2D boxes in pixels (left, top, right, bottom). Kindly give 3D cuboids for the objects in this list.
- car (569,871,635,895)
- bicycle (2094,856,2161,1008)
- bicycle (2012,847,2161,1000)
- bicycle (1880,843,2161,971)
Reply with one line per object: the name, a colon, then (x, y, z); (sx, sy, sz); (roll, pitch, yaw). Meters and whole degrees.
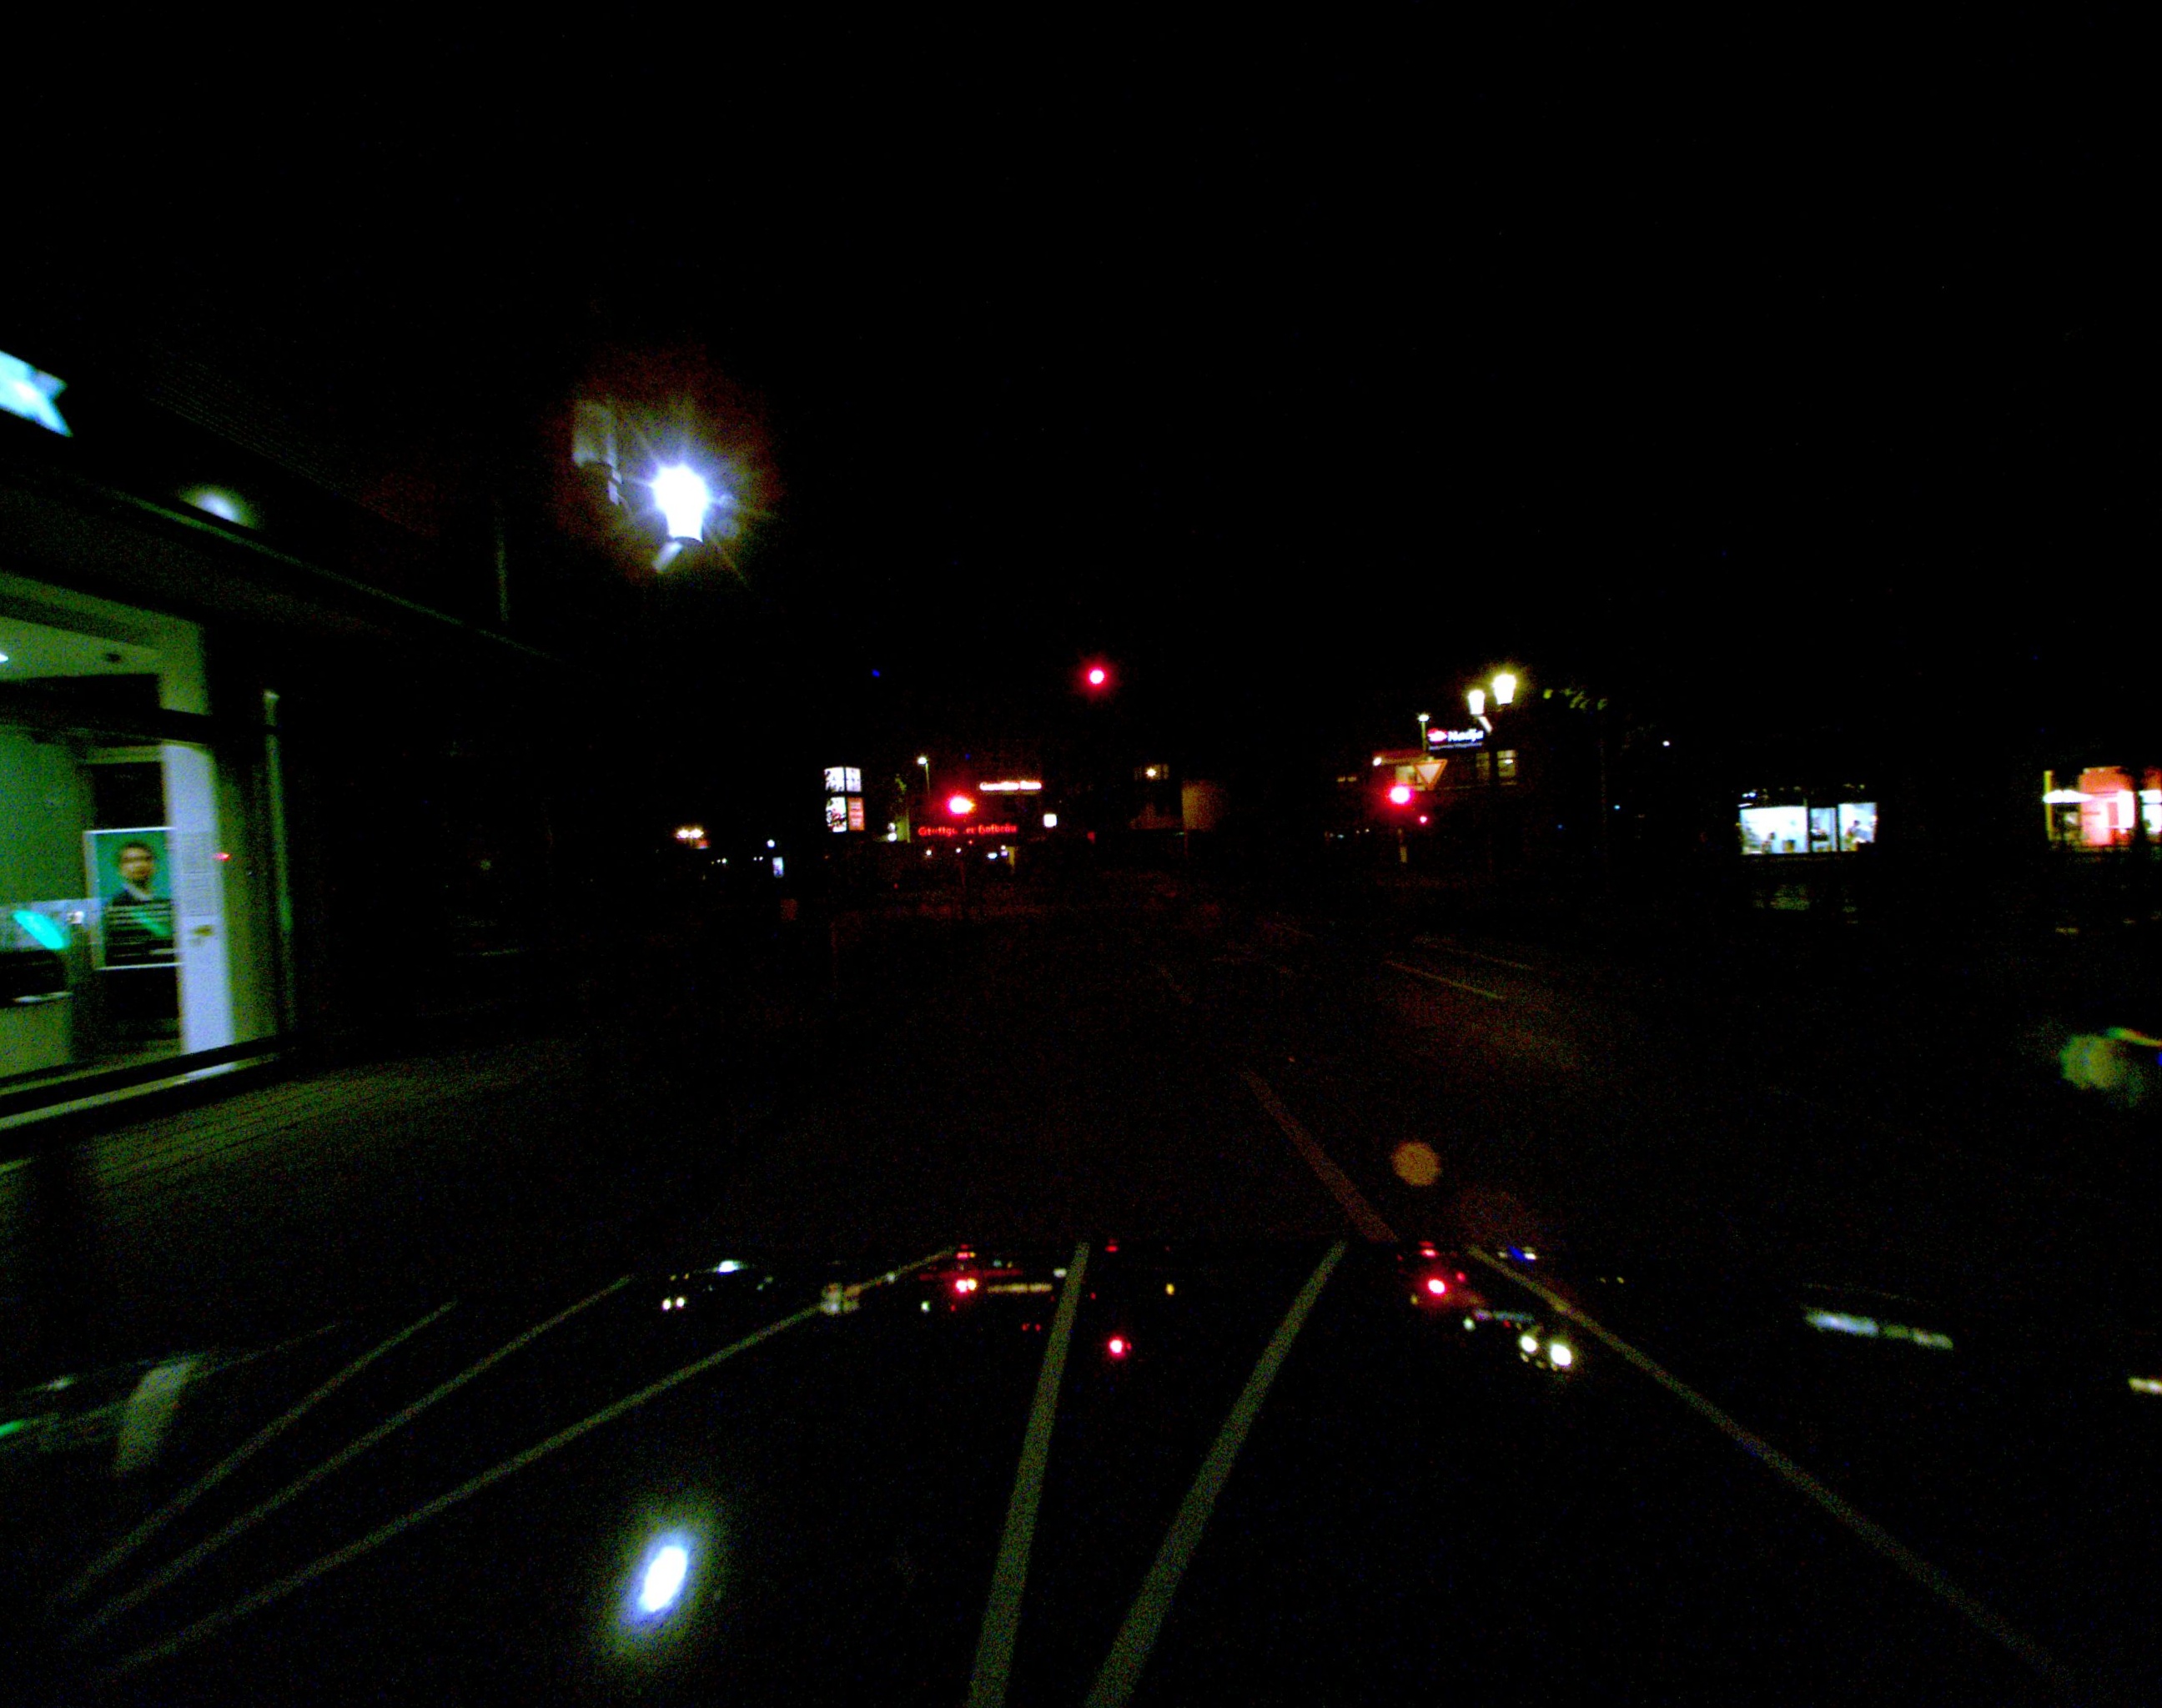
car: (-34.819, 2.091, 55.294); (3.856, 1.643, 1.877); (-2, -1, 14)
bicycle: (9.329, 0.563, 5.872); (1.738, 1.159, 0.787); (-5, 0, 5)
bicycle: (9.496, 0.549, 6.576); (1.738, 1.151, 0.787); (-5, 1, 5)
bicycle: (9.894, 0.535, 8.067); (1.838, 1.151, 0.787); (-5, 1, 5)
